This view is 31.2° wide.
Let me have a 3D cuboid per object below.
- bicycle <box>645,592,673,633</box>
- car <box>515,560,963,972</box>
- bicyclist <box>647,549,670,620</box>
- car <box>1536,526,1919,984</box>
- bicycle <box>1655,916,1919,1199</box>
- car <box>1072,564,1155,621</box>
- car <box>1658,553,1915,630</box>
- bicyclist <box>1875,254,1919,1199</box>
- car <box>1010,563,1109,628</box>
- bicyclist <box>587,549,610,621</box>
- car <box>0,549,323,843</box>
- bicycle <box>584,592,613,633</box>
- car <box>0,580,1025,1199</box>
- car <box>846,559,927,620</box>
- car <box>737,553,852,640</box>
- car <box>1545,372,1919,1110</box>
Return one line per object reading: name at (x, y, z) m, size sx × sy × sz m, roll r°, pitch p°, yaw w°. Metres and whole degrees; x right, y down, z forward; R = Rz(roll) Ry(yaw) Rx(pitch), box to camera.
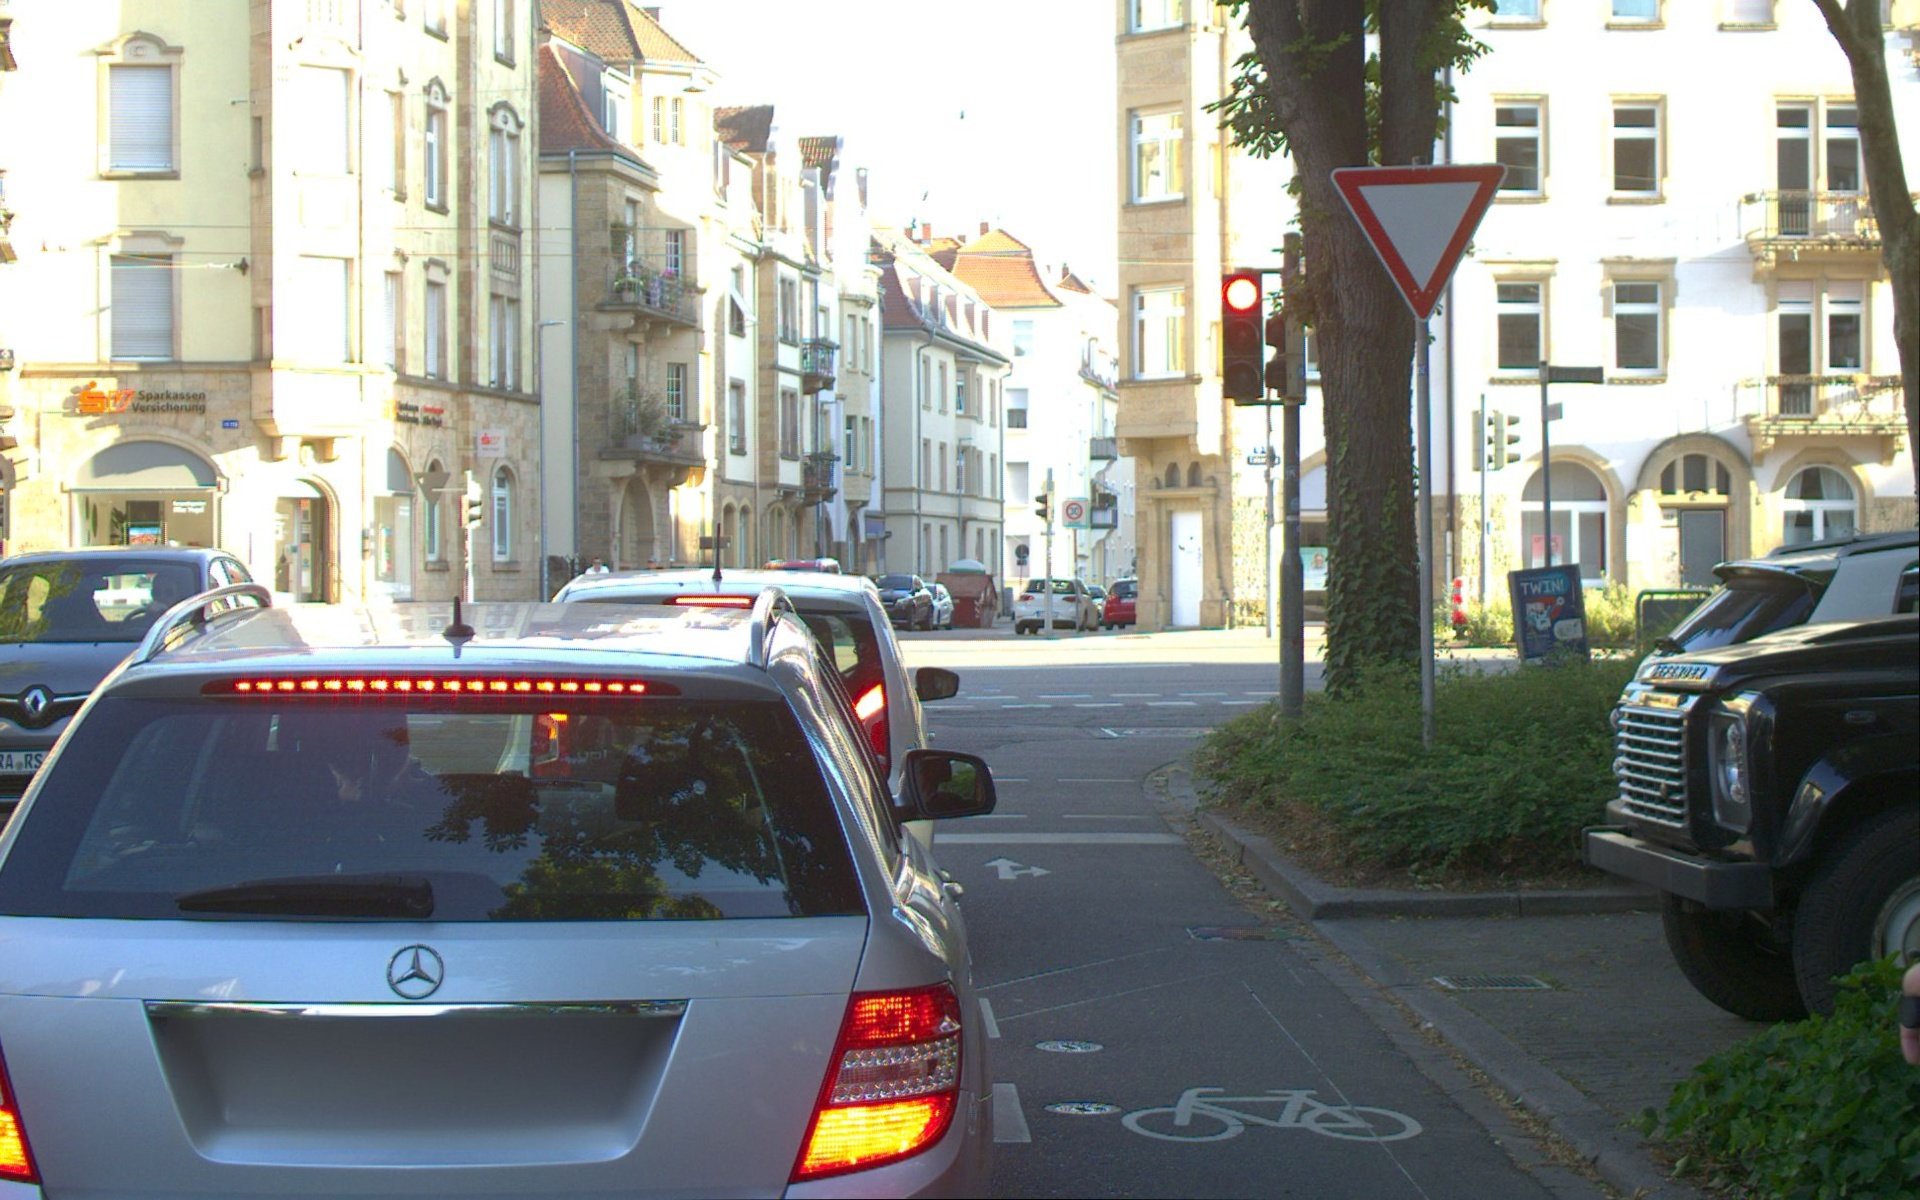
bicycle at (-6.410, 0.255, 73.290) m, size 0.568 × 0.832 × 1.566 m, roll 0°, pitch 1°, yaw -4°
car at (-0.827, 0.554, 13.627) m, size 1.533 × 1.386 × 3.600 m, roll 0°, pitch 1°, yaw -2°
bicyclist at (-6.423, -0.330, 73.317) m, size 0.466 × 1.516 × 0.694 m, roll 0°, pitch 1°, yaw -4°
car at (4.150, 0.500, 13.110) m, size 3.480 × 1.580 × 1.711 m, roll -2°, pitch 1°, yaw -6°
bicycle at (1.155, 0.933, 2.836) m, size 0.742 × 1.114 × 2.013 m, roll 1°, pitch 1°, yaw -1°
car at (4.577, -0.229, 102.075) m, size 1.722 × 1.473 × 3.998 m, roll -4°, pitch 1°, yaw 12°
car at (11.916, -0.129, 49.658) m, size 3.364 × 1.065 × 1.380 m, roll 0°, pitch 1°, yaw -1°
bicyclist at (1.189, 0.577, 2.821) m, size 0.646 × 1.769 × 0.831 m, roll 1°, pitch 0°, yaw -1°
car at (2.513, -0.123, 85.864) m, size 1.722 × 1.473 × 3.998 m, roll -2°, pitch 1°, yaw 12°
bicyclist at (-7.713, -0.325, 73.356) m, size 0.466 × 1.509 × 0.655 m, roll 0°, pitch 1°, yaw -4°
car at (-4.752, 0.468, 19.505) m, size 1.615 × 1.496 × 3.592 m, roll 0°, pitch 1°, yaw 0°
bicycle at (-7.709, 0.264, 73.326) m, size 0.568 × 0.832 × 1.566 m, roll 0°, pitch 1°, yaw -4°
car at (-0.861, 0.705, 6.467) m, size 1.690 × 1.424 × 3.493 m, roll 1°, pitch 1°, yaw -3°
car at (-2.160, -0.303, 102.434) m, size 1.651 × 1.777 × 3.861 m, roll 0°, pitch 0°, yaw 11°
car at (-3.804, -0.115, 79.825) m, size 1.938 × 1.952 × 4.149 m, roll 0°, pitch 1°, yaw 8°
car at (4.188, 0.289, 10.182) m, size 4.490 × 1.949 × 1.793 m, roll -2°, pitch 1°, yaw -3°
